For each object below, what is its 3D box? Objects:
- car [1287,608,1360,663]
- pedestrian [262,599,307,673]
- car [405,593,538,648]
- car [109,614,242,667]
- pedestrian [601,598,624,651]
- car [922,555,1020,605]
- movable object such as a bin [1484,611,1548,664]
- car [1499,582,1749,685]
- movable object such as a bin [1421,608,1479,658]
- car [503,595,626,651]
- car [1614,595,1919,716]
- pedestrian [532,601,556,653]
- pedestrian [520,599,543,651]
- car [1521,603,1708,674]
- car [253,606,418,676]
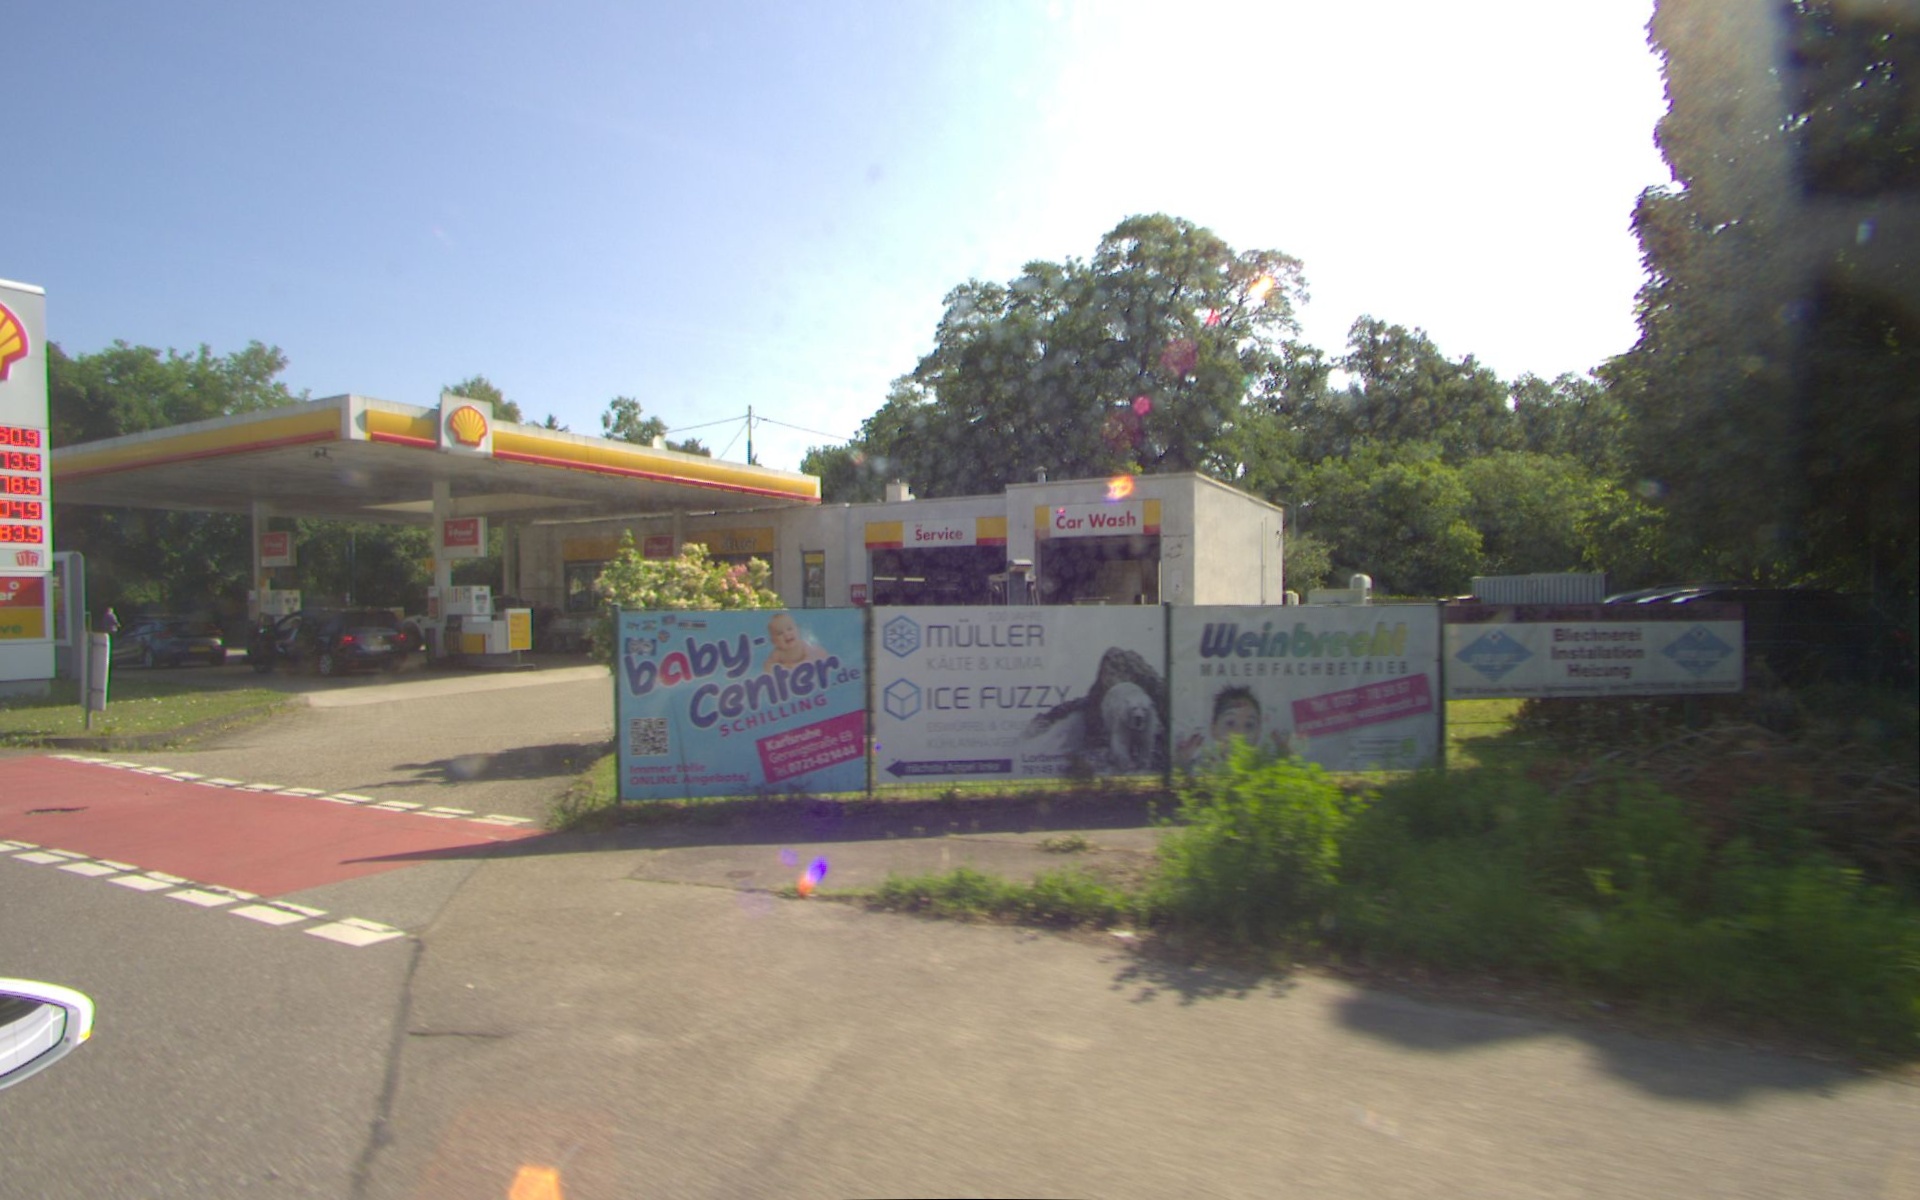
[{"bbox_3d":[11.297,1.112,31.007,1.700,1.595,3.381,-1,-2,27],"label":"car"},{"bbox_3d":[-16.318,0.856,24.189,0.802,1.752,0.669,0,1,39],"label":"pedestrian"},{"bbox_3d":[-17.379,0.715,35.590,4.706,1.862,1.850,0,0,28],"label":"car"},{"bbox_3d":[-22.399,1.114,28.572,3.793,1.379,1.794,0,0,32],"label":"car"},{"bbox_3d":[-11.171,0.792,32.174,0.493,1.690,0.473,0,1,30],"label":"pedestrian"},{"bbox_3d":[0.444,-0.629,34.784,1.628,1.505,3.982,-1,-2,31],"label":"car"},{"bbox_3d":[14.226,0.938,25.637,0.850,1.307,1.234,0,0,-9],"label":"movable object such as a bin"},{"bbox_3d":[12.995,0.692,19.899,3.879,1.816,1.677,-3,-1,27],"label":"car"},{"bbox_3d":[13.627,0.904,27.856,0.834,1.342,1.232,0,0,-18],"label":"movable object such as a bin"},{"bbox_3d":[-13.045,0.755,32.963,3.944,1.750,1.823,-1,0,33],"label":"car"},{"bbox_3d":[12.189,0.771,14.948,3.877,1.650,1.678,0,0,27],"label":"car"},{"bbox_3d":[-13.181,0.844,31.734,0.469,1.614,0.498,0,1,33],"label":"pedestrian"},{"bbox_3d":[-13.780,0.805,32.201,0.469,1.653,0.498,0,1,33],"label":"pedestrian"},{"bbox_3d":[14.862,0.842,22.956,3.458,1.458,1.675,-1,2,30],"label":"car"},{"bbox_3d":[-15.411,0.967,24.707,3.817,1.599,1.758,0,0,28],"label":"car"}]
